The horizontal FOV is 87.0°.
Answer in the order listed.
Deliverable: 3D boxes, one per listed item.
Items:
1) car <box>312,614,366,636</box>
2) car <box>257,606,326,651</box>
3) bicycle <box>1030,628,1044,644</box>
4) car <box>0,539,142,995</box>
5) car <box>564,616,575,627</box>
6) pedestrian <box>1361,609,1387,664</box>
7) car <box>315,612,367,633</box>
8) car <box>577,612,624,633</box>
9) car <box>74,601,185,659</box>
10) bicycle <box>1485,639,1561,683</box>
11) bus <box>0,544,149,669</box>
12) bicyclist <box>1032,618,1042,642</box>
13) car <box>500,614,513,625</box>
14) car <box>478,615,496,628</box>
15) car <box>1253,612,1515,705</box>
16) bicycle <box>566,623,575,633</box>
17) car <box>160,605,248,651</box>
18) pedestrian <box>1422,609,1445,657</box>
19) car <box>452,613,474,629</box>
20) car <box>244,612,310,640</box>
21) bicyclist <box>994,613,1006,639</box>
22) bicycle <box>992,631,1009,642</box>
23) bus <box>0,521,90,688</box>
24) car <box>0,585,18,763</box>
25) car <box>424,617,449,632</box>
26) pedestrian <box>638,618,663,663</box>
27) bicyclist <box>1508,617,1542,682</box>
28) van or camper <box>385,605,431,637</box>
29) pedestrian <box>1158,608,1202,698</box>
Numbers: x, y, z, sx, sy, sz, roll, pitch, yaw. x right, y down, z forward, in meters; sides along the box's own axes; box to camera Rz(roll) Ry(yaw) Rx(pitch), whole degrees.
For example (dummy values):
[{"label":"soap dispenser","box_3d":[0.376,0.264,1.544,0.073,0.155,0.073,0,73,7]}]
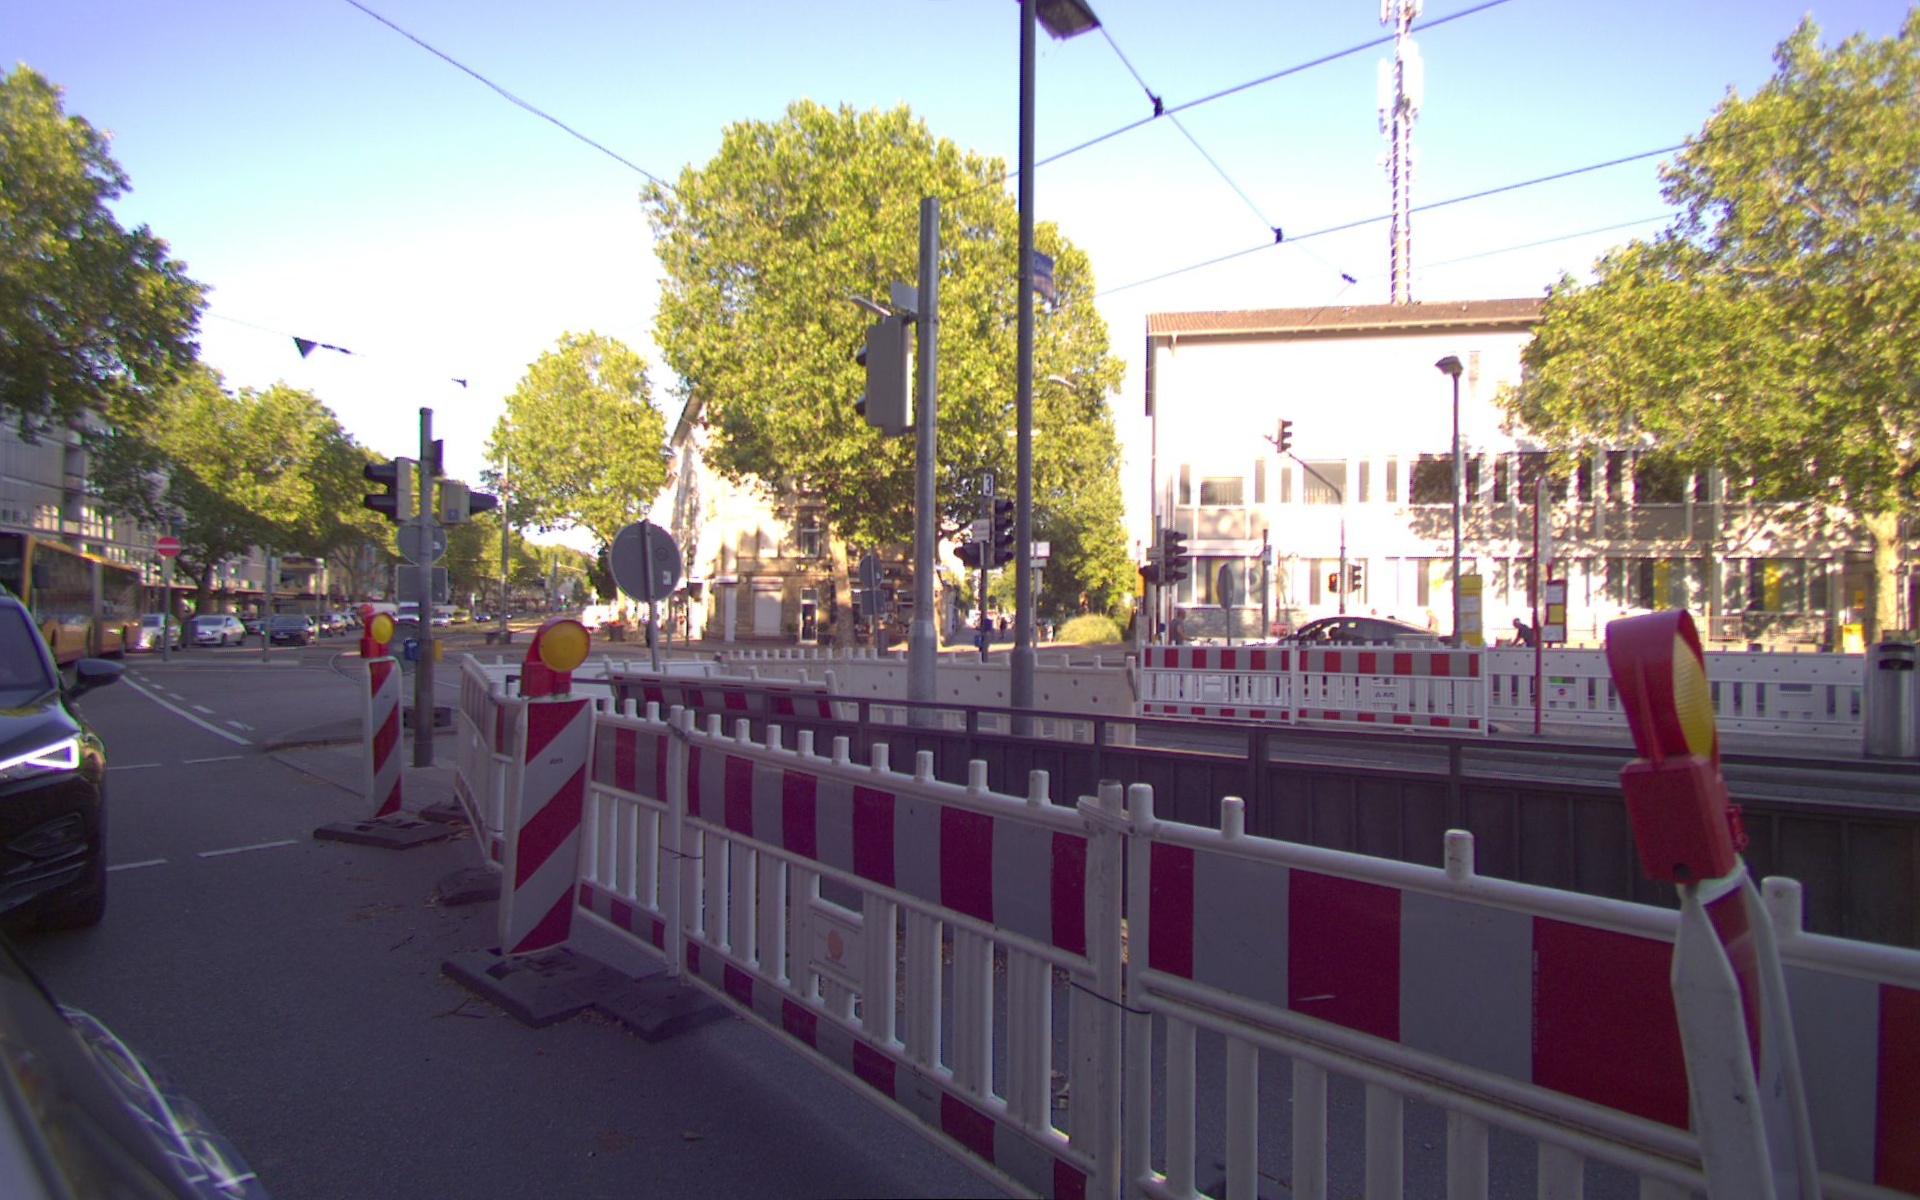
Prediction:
[{"label":"car","box_3d":[-58.119,2.368,94.748,3.938,2.029,2.002,1,-2,-42]},{"label":"car","box_3d":[-31.672,1.333,48.072,1.965,2.029,4.013,1,-1,-22]},{"label":"bicycle","box_3d":[5.144,2.387,67.434,0.671,1.039,2.181,0,-1,12]},{"label":"car","box_3d":[-5.449,0.641,4.760,3.998,1.719,1.818,-1,-2,41]},{"label":"car","box_3d":[-79.484,4.380,205.849,1.965,2.029,4.012,1,-1,-19]},{"label":"pedestrian","box_3d":[12.101,1.062,29.565,0.649,1.564,0.563,-1,-2,28]},{"label":"car","box_3d":[-60.258,2.209,98.534,3.938,2.029,2.002,1,-2,-42]},{"label":"car","box_3d":[-34.424,2.161,97.092,1.990,2.029,3.963,0,-2,27]},{"label":"car","box_3d":[-30.913,1.115,37.821,1.965,2.029,4.111,1,-1,-21]},{"label":"bicycle","box_3d":[14.331,1.539,25.775,1.621,1.073,0.543,-1,-2,41]},{"label":"bus","box_3d":[-25.959,0.238,29.263,2.676,3.130,8.622,1,-2,-31]},{"label":"bicyclist","box_3d":[5.132,2.005,67.519,0.570,1.538,0.842,0,-1,12]},{"label":"car","box_3d":[-80.116,3.474,178.874,1.809,1.816,4.143,1,-2,-19]},{"label":"car","box_3d":[-66.732,3.035,142.762,1.809,1.816,4.143,1,-2,-19]},{"label":"car","box_3d":[8.496,1.094,20.464,4.552,1.674,1.974,-1,-2,38]},{"label":"bicycle","box_3d":[-47.009,3.430,122.270,0.837,1.202,2.474,1,-2,-25]},{"label":"car","box_3d":[-34.918,1.307,46.886,1.966,2.029,4.012,1,-1,-17]},{"label":"pedestrian","box_3d":[14.742,1.015,31.505,0.581,1.466,0.583,0,-2,19]},{"label":"car","box_3d":[-58.244,2.431,118.580,1.809,1.816,4.143,1,-2,-19]},{"label":"car","box_3d":[-50.560,1.916,74.977,3.932,2.029,2.006,1,-2,-31]},{"label":"bicyclist","box_3d":[2.826,1.816,70.709,0.668,1.741,0.761,0,-2,17]},{"label":"bicycle","box_3d":[2.819,2.551,70.664,0.676,0.788,1.979,0,-1,17]},{"label":"bus","box_3d":[-21.109,0.136,21.927,2.678,3.130,8.641,1,-2,-36]},{"label":"car","box_3d":[-11.021,0.690,10.083,4.073,1.656,1.973,-1,-2,41]},{"label":"car","box_3d":[-53.403,2.522,103.287,1.675,1.481,3.776,1,-2,-19]},{"label":"pedestrian","box_3d":[-10.667,1.391,34.881,0.594,1.545,0.746,1,-2,-38]},{"label":"bicyclist","box_3d":[14.374,1.256,25.749,0.643,1.626,0.544,-1,-2,41]},{"label":"van or camper","box_3d":[-48.331,1.836,88.698,2.385,2.739,6.151,1,-1,-18]},{"label":"pedestrian","box_3d":[4.392,1.044,20.227,0.545,1.760,0.693,1,-2,-24]}]
